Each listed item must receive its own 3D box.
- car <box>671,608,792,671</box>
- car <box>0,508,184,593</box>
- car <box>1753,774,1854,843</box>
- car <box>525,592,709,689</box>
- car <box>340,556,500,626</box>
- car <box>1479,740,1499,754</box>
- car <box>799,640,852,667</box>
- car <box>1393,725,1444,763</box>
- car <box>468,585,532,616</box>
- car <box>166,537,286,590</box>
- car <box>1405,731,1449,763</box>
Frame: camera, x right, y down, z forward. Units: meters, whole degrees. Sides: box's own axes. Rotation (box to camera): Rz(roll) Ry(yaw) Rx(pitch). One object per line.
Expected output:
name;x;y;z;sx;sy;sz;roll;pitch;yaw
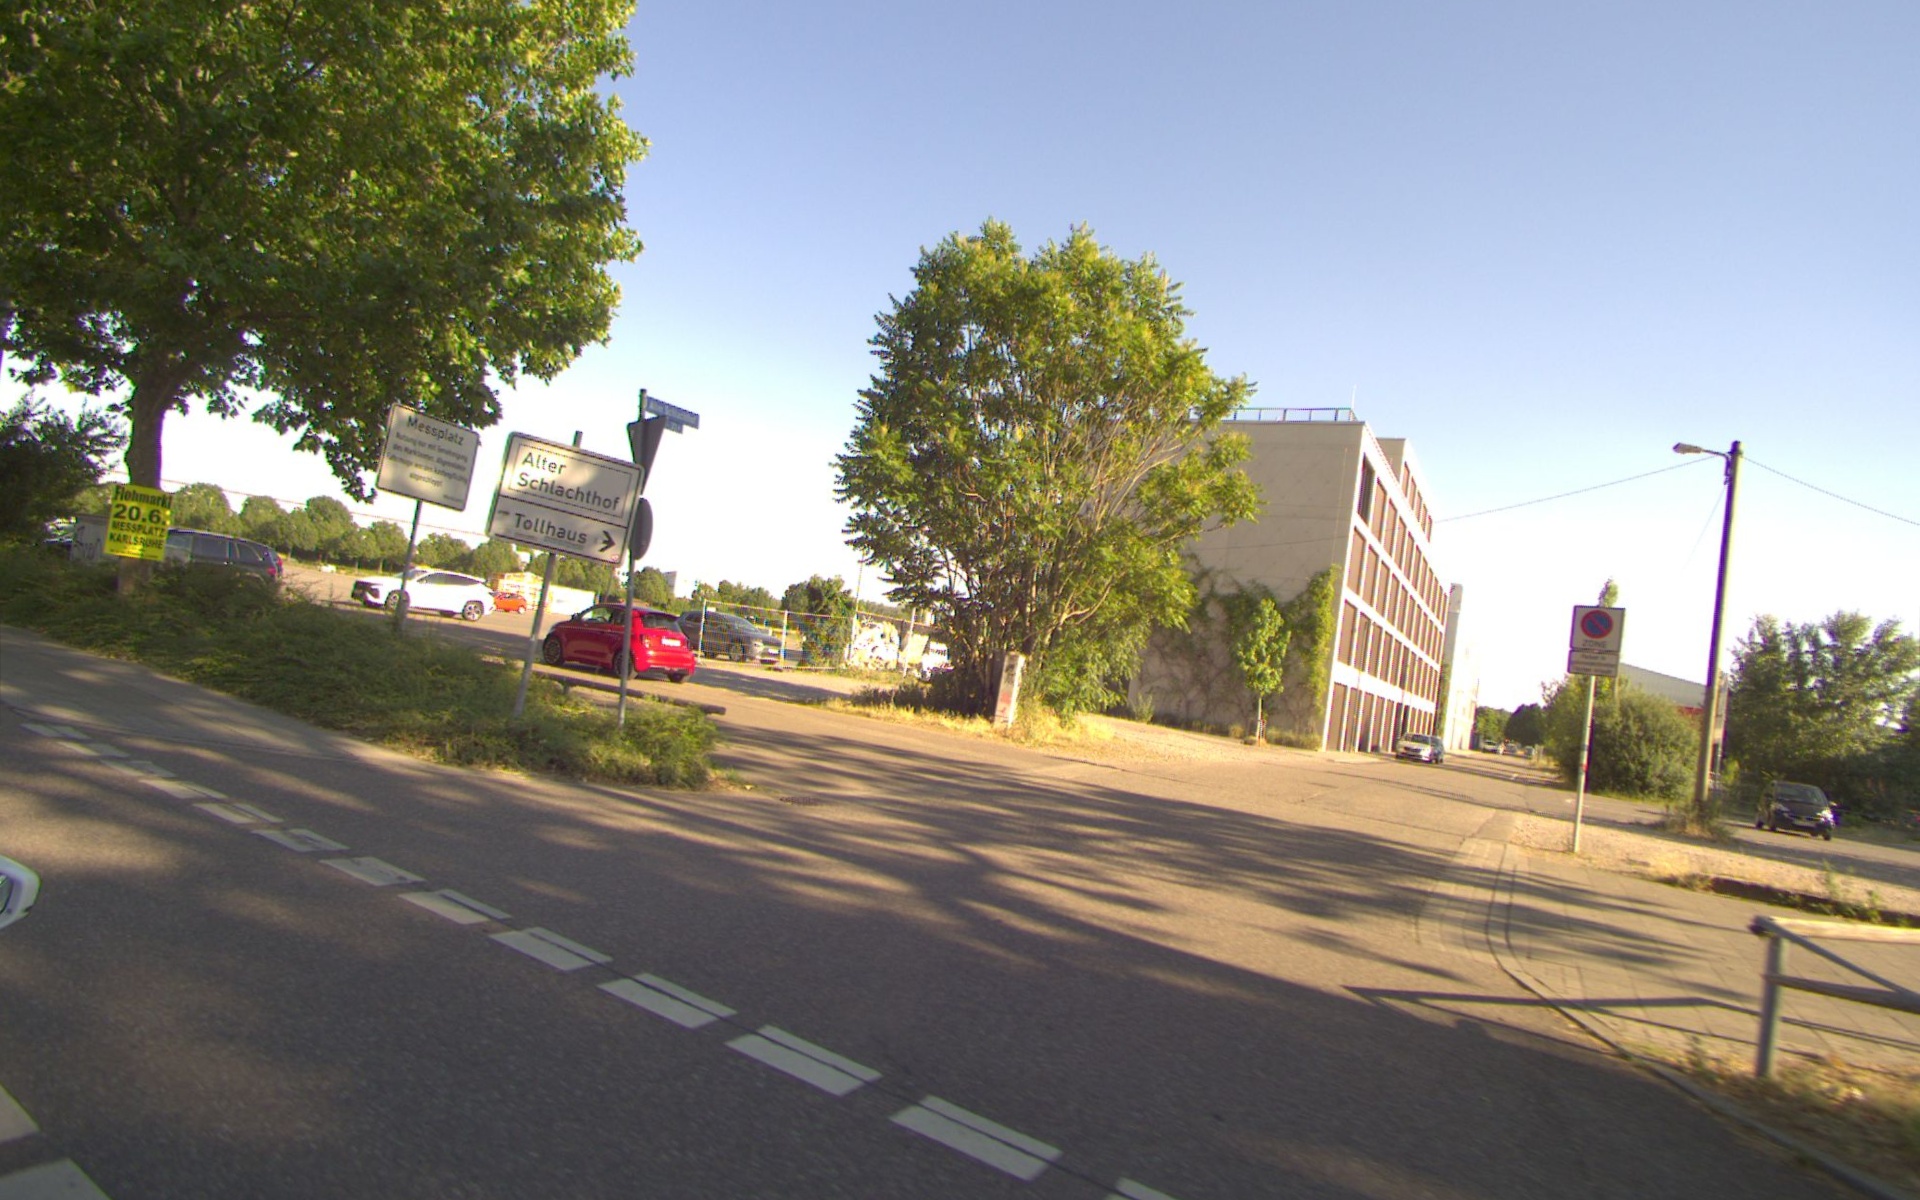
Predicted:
car;-8.028;1.384;35.260;3.933;1.627;1.570;6;-3;31
car;-21.636;-1.209;24.713;1.651;1.478;3.604;7;-4;32
car;25.990;6.369;31.120;1.830;1.629;4.360;6;-4;35
car;-7.469;0.859;21.833;3.740;1.532;1.619;7;-3;31
car;-18.891;-0.273;35.381;1.888;1.676;4.467;6;-4;35
car;75.497;20.978;143.591;1.854;1.629;4.359;6;-4;36
car;-10.140;4.053;76.272;1.697;1.541;4.264;7;-4;28
car;24.251;7.627;53.131;1.851;1.629;4.365;7;-4;31
car;-33.230;0.035;72.795;1.621;1.618;3.827;7;-3;28
car;-32.500;-1.603;44.668;1.642;1.626;3.823;7;-4;31
car;26.786;8.402;57.644;1.851;1.472;3.828;7;-4;31
